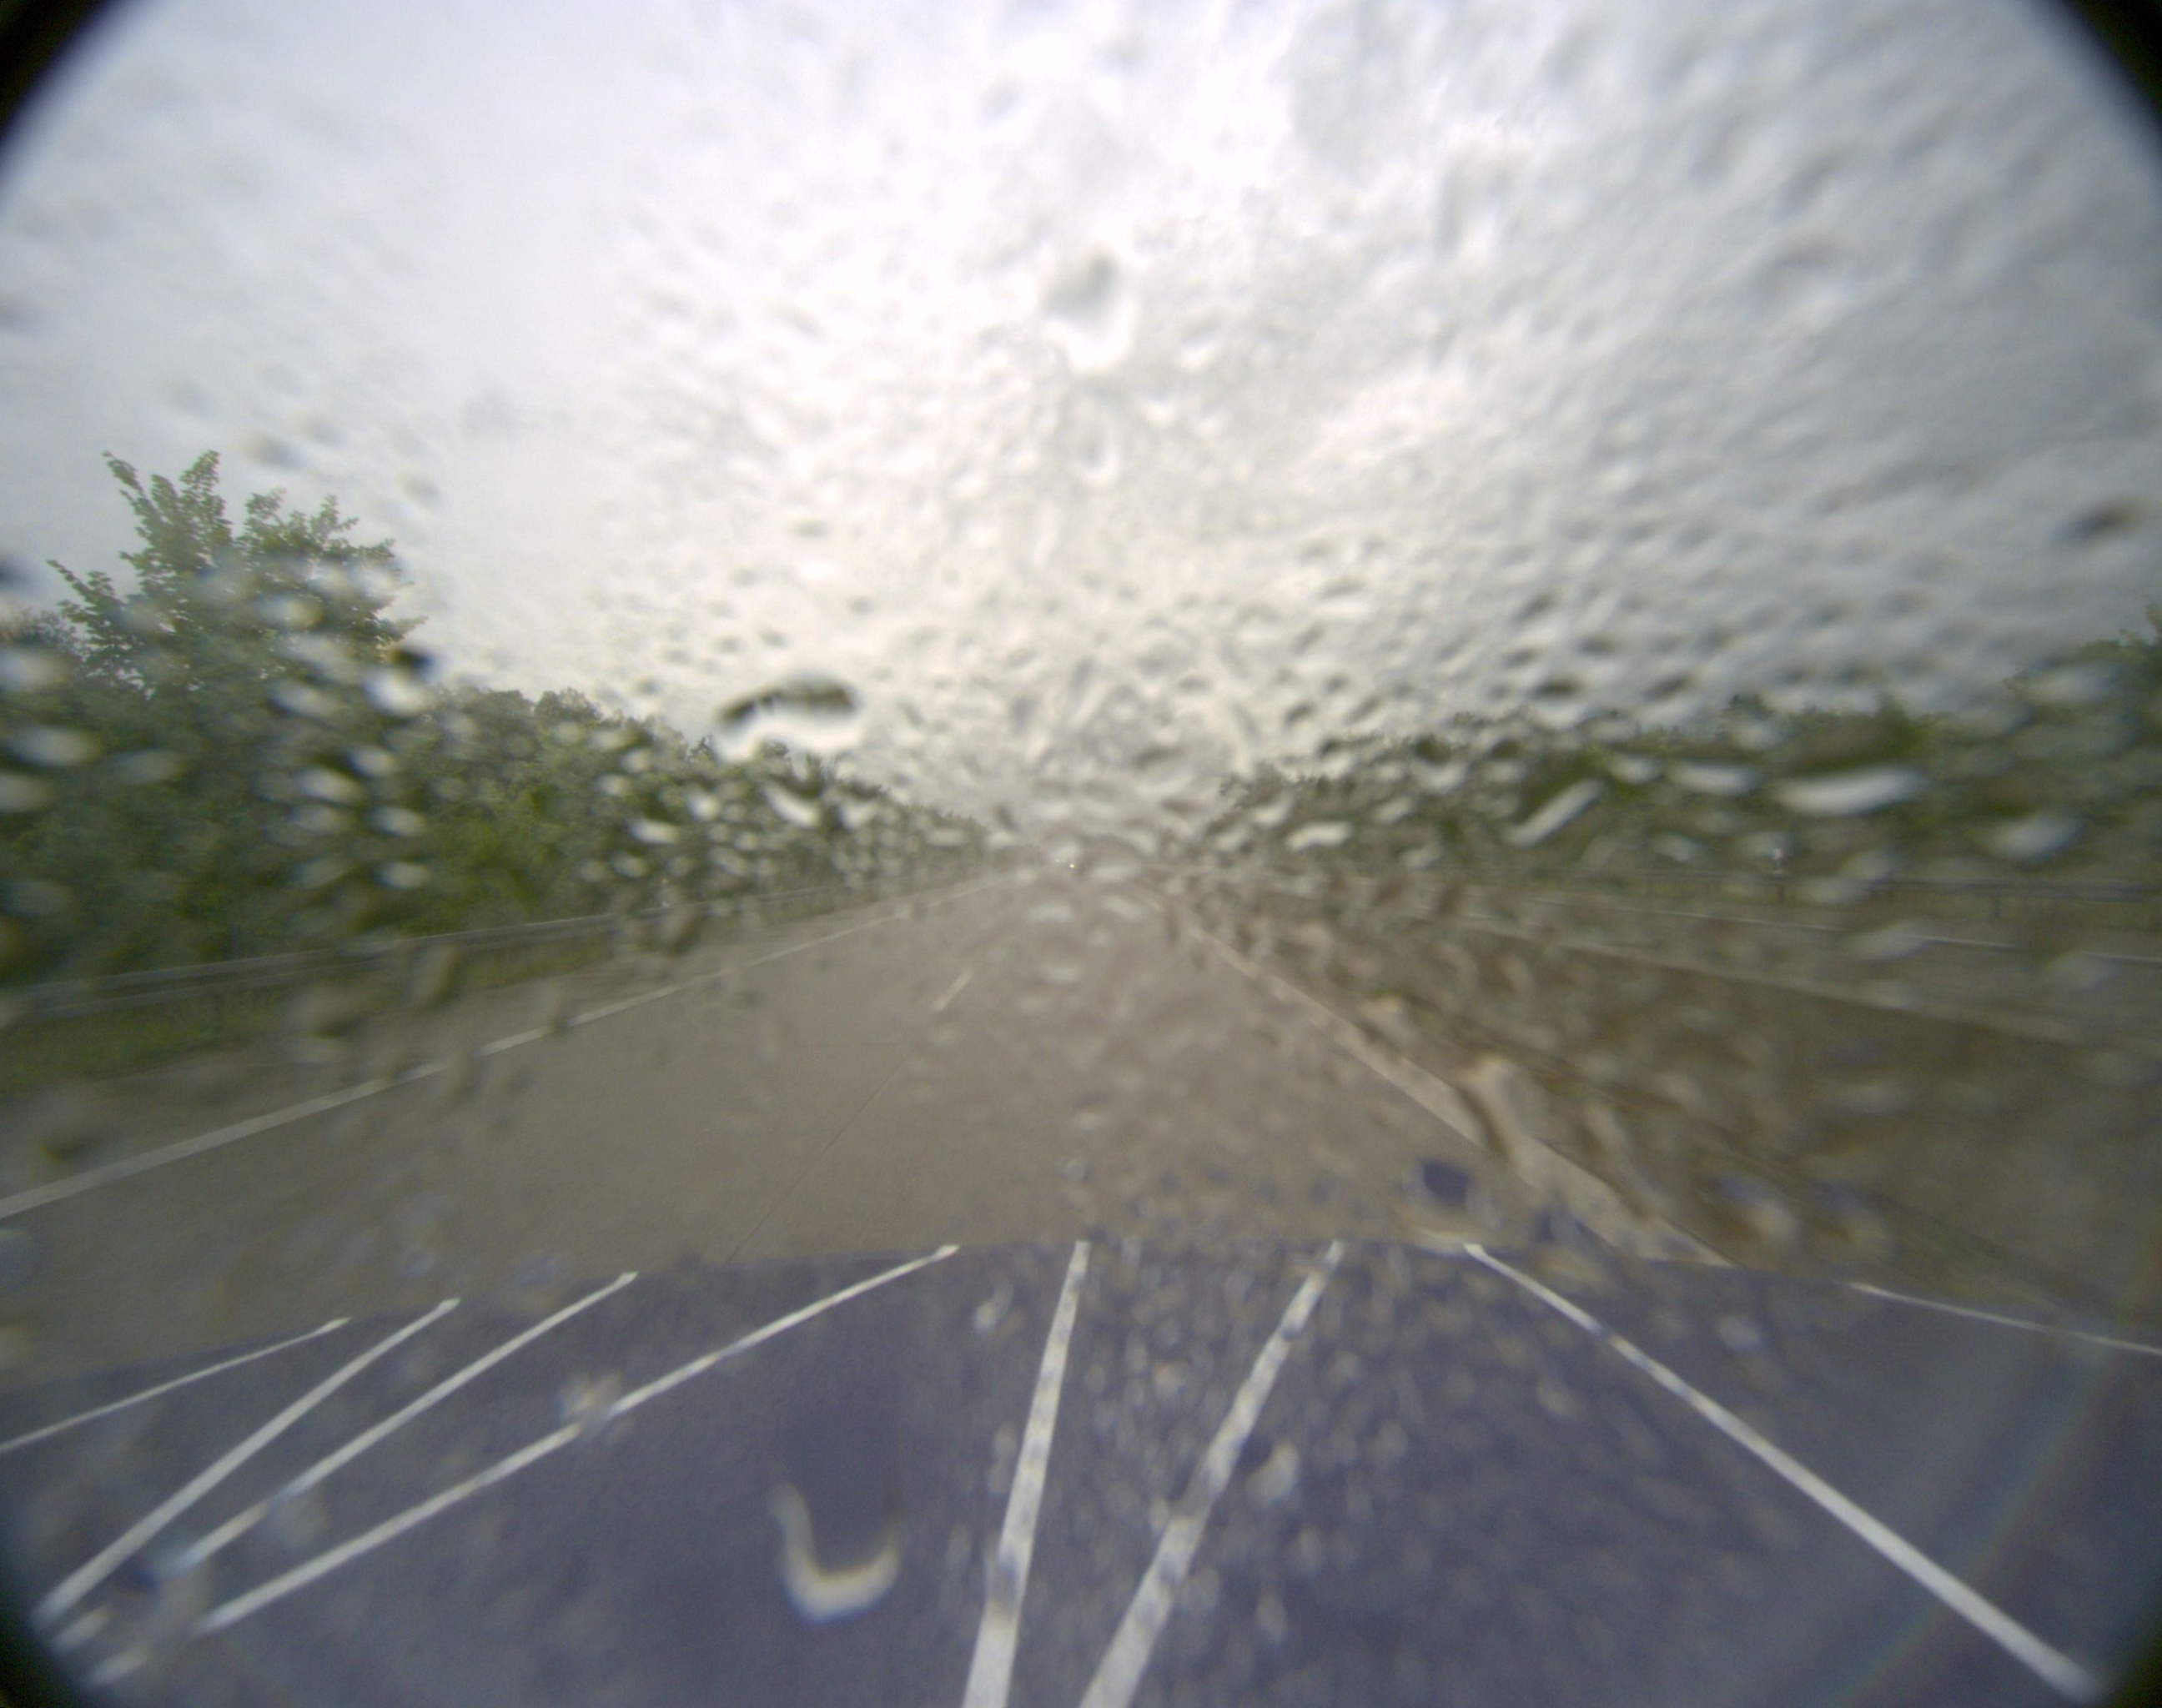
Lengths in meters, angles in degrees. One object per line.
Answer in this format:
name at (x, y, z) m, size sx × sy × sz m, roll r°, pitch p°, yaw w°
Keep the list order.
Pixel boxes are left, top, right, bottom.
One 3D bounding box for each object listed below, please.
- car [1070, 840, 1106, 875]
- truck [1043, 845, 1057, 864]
car at (0.397, 0.283, 49.008) m, size 1.796 × 2.113 × 4.523 m, roll 1°, pitch -2°, yaw -5°
truck at (-6.924, 0.116, 167.123) m, size 2.767 × 4.062 × 5.436 m, roll 1°, pitch -2°, yaw -6°
